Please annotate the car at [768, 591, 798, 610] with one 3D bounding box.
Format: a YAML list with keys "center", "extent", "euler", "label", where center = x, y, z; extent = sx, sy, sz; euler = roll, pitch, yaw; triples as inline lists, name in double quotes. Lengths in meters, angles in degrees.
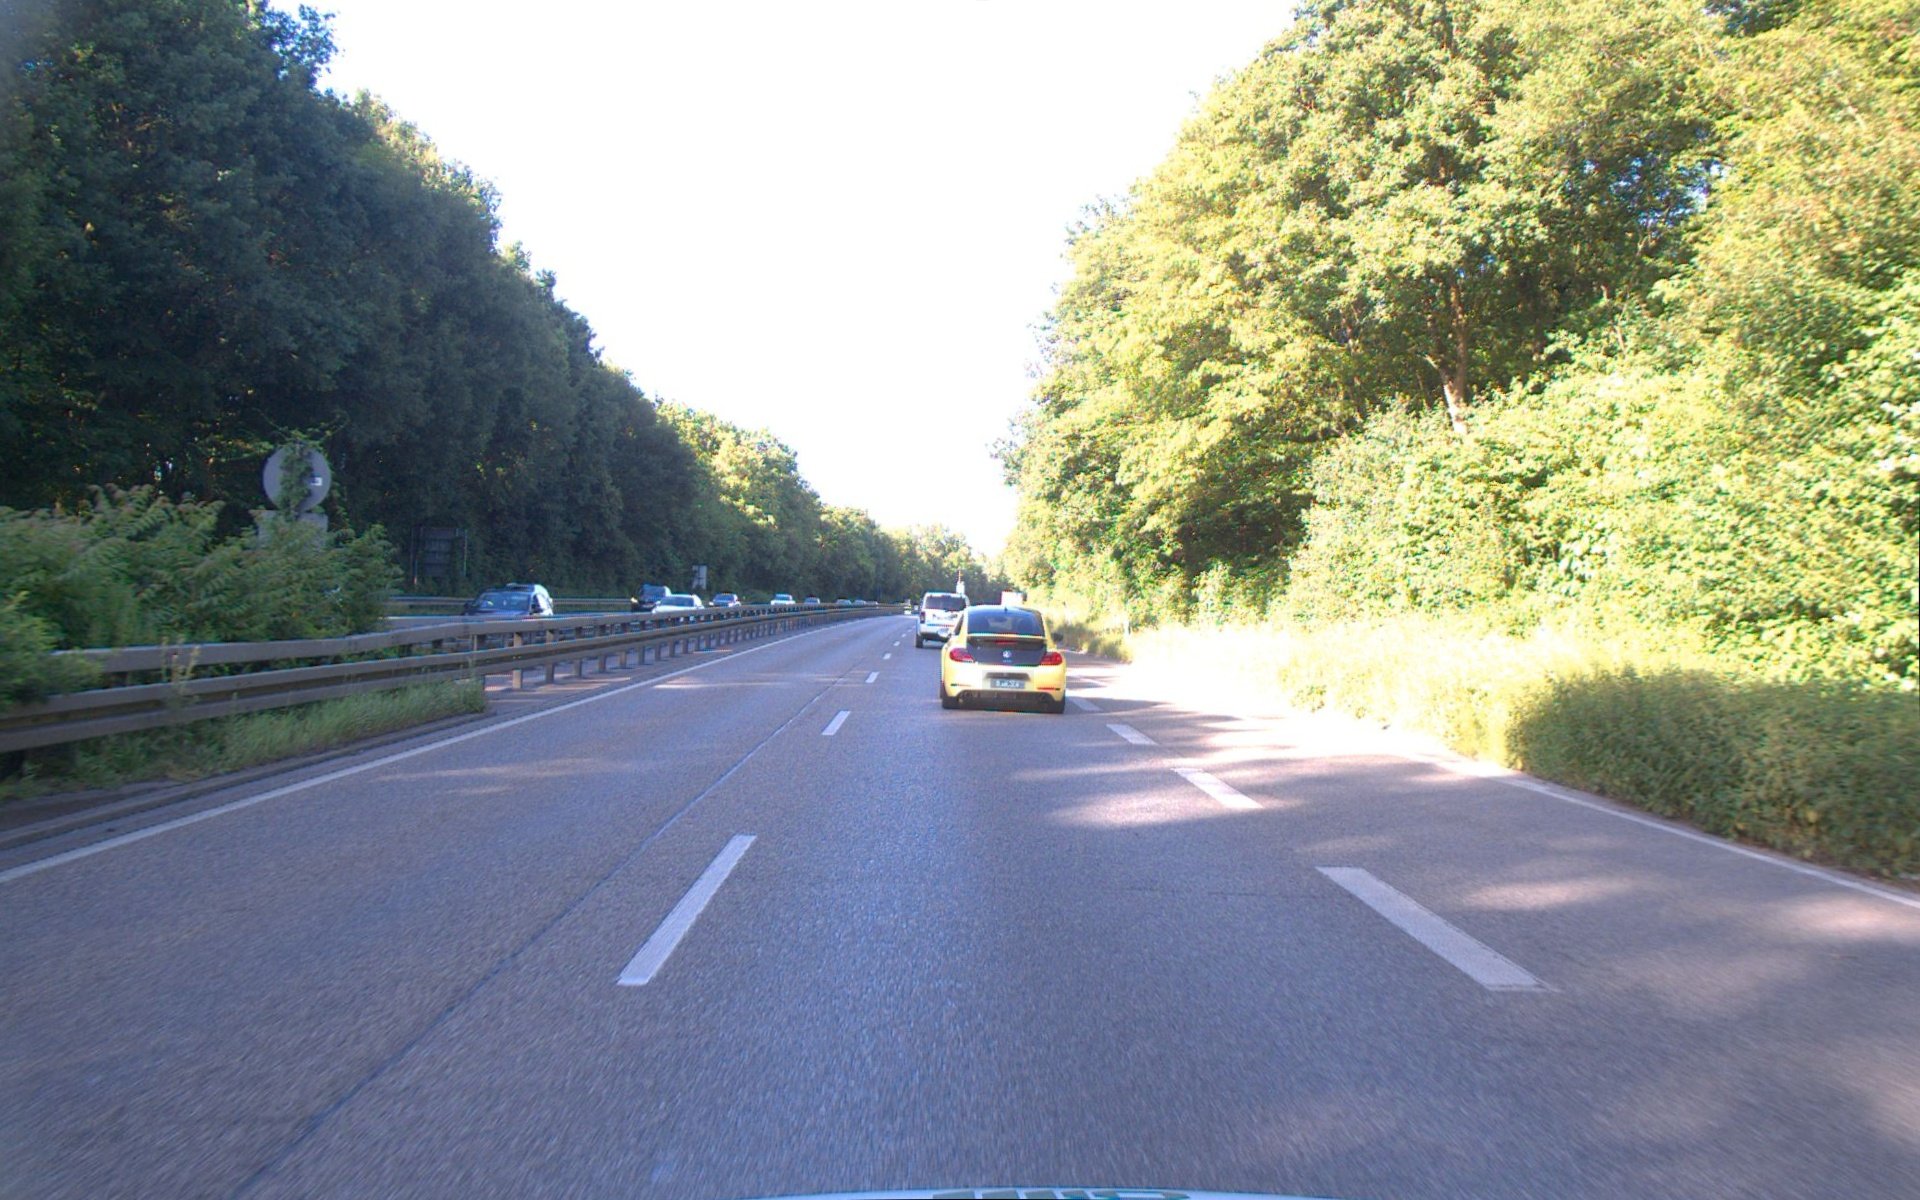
- center: [-15.788, 0.044, 147.412]
  extent: [1.952, 1.651, 4.791]
  euler: [1, 0, 2]
  label: "car"

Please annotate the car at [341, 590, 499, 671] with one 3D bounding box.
- center: [-11.102, 0.609, 34.283]
  extent: [1.953, 1.567, 4.117]
  euler: [1, 0, -1]
  label: "car"

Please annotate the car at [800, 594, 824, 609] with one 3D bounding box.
- center: [-15.139, 0.188, 169.485]
  extent: [1.952, 1.490, 4.000]
  euler: [1, 0, 1]
  label: "car"

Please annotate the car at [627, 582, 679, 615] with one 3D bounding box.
- center: [-16.509, -0.080, 89.180]
  extent: [1.953, 1.729, 4.907]
  euler: [0, 0, -1]
  label: "car"

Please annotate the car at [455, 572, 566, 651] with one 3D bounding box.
- center: [-11.343, 0.292, 41.956]
  extent: [1.752, 1.892, 3.999]
  euler: [1, 0, -1]
  label: "car"

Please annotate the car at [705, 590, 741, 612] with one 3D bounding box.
- center: [-16.531, 0.100, 115.458]
  extent: [1.953, 1.512, 3.999]
  euler: [1, 0, -1]
  label: "car"

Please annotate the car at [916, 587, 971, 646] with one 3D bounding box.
- center: [-0.560, 0.524, 53.765]
  extent: [1.706, 1.862, 3.421]
  euler: [1, 0, -1]
  label: "car"

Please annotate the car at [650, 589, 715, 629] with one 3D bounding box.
- center: [-11.507, 0.396, 68.786]
  extent: [1.953, 1.587, 4.706]
  euler: [1, 0, -1]
  label: "car"

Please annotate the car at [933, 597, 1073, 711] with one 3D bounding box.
- center: [0.672, 0.752, 24.349]
  extent: [1.898, 1.535, 3.423]
  euler: [1, 0, 3]
  label: "car"
